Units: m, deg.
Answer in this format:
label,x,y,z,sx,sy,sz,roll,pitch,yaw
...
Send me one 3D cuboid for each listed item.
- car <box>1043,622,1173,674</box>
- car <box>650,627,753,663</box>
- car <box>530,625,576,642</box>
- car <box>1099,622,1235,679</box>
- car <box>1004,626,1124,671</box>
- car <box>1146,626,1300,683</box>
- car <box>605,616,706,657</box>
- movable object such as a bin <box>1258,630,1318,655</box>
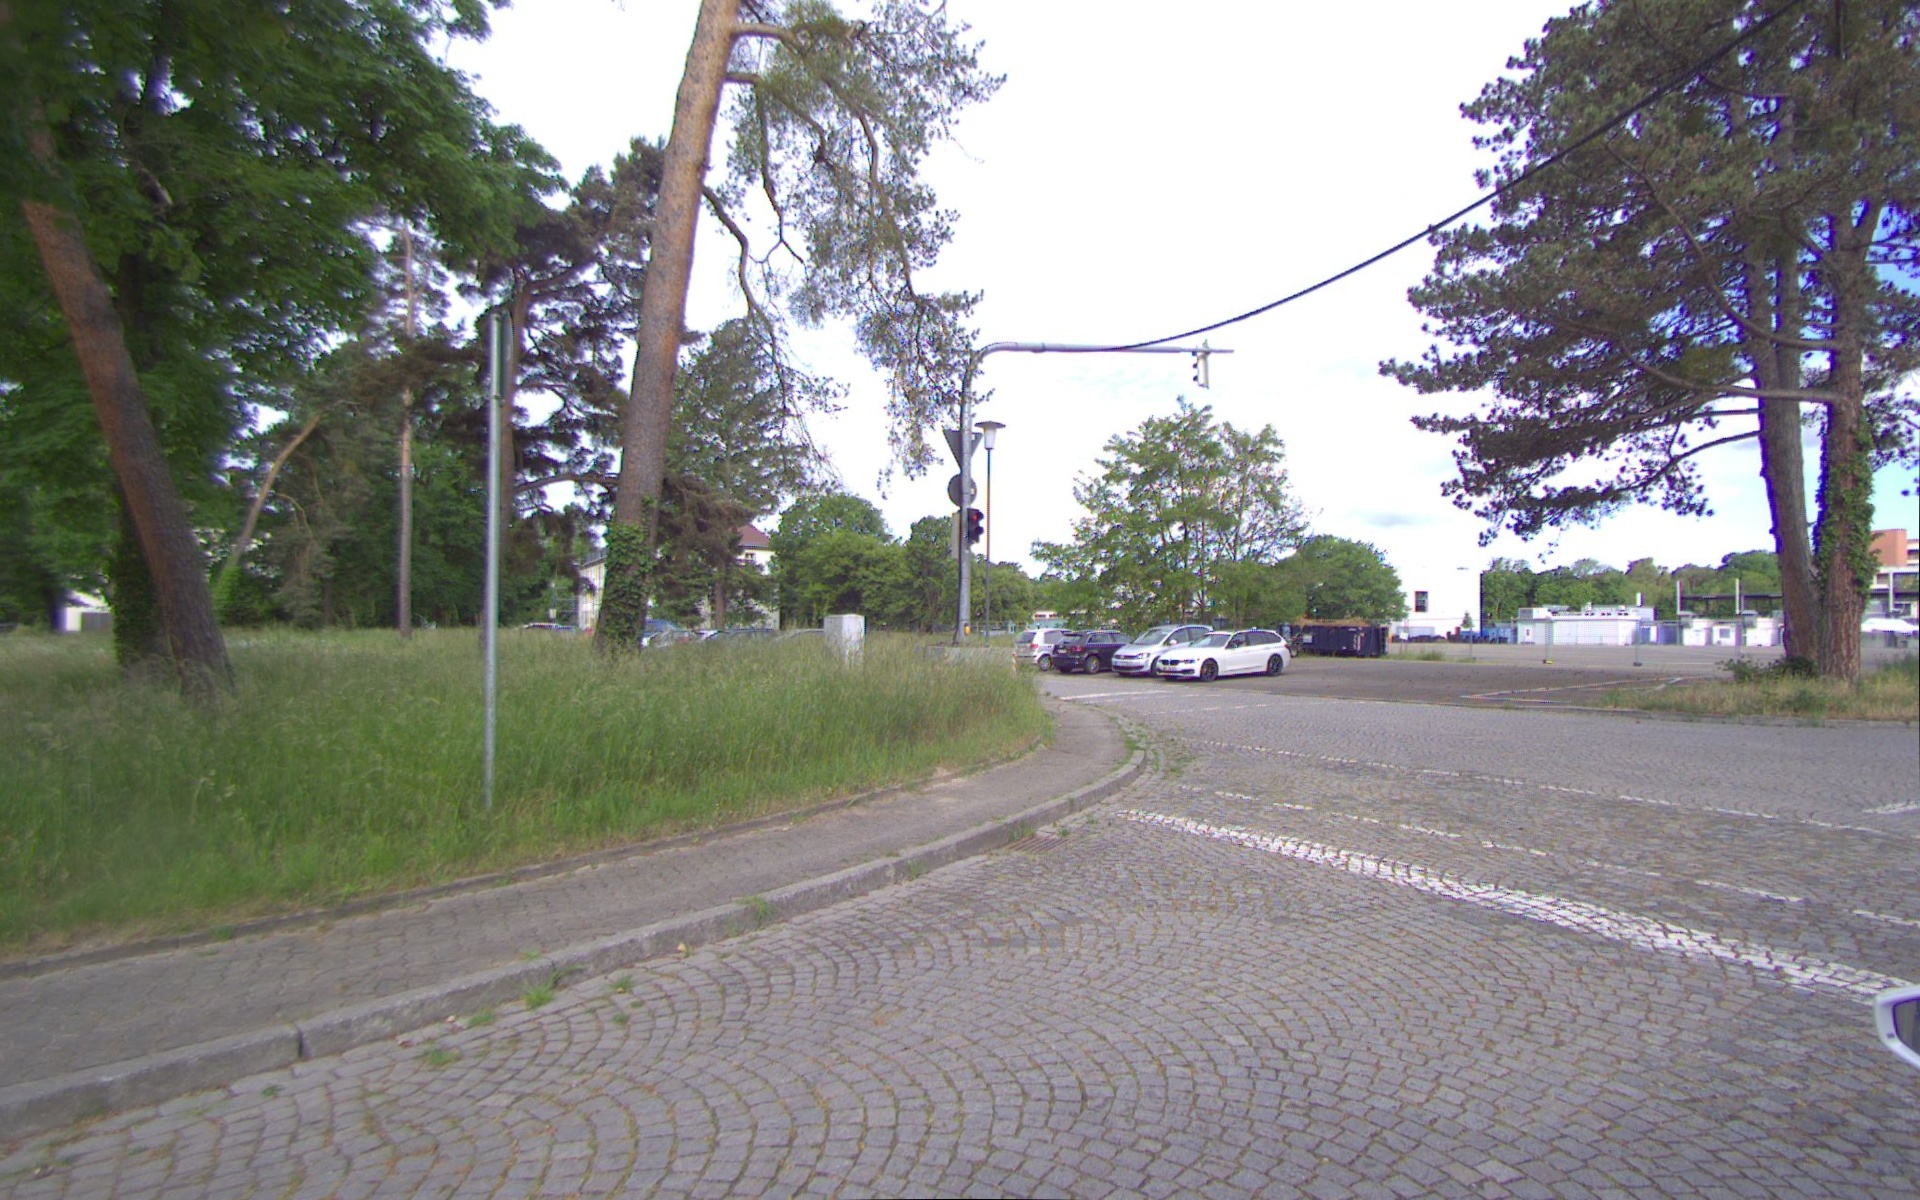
label,x,y,z,sx,sy,sz,roll,pitch,yaw
car,5.170,1.619,34.926,4.278,1.522,1.844,-2,0,-33
car,-10.884,1.879,42.329,3.950,1.457,1.679,1,-2,-28
car,-50.799,4.141,125.289,5.101,2.040,1.985,1,-2,-30
car,6.764,1.586,32.670,4.278,1.605,1.811,-2,0,-33
car,3.870,1.751,37.263,4.279,1.587,1.783,1,-2,-33
car,8.019,1.591,30.521,4.687,1.461,1.800,-1,0,-32
car,-15.797,1.879,52.108,4.735,2.007,1.983,0,-1,-29
movable object such as a bin,14.550,1.868,44.480,2.631,1.061,1.170,1,-2,-34
